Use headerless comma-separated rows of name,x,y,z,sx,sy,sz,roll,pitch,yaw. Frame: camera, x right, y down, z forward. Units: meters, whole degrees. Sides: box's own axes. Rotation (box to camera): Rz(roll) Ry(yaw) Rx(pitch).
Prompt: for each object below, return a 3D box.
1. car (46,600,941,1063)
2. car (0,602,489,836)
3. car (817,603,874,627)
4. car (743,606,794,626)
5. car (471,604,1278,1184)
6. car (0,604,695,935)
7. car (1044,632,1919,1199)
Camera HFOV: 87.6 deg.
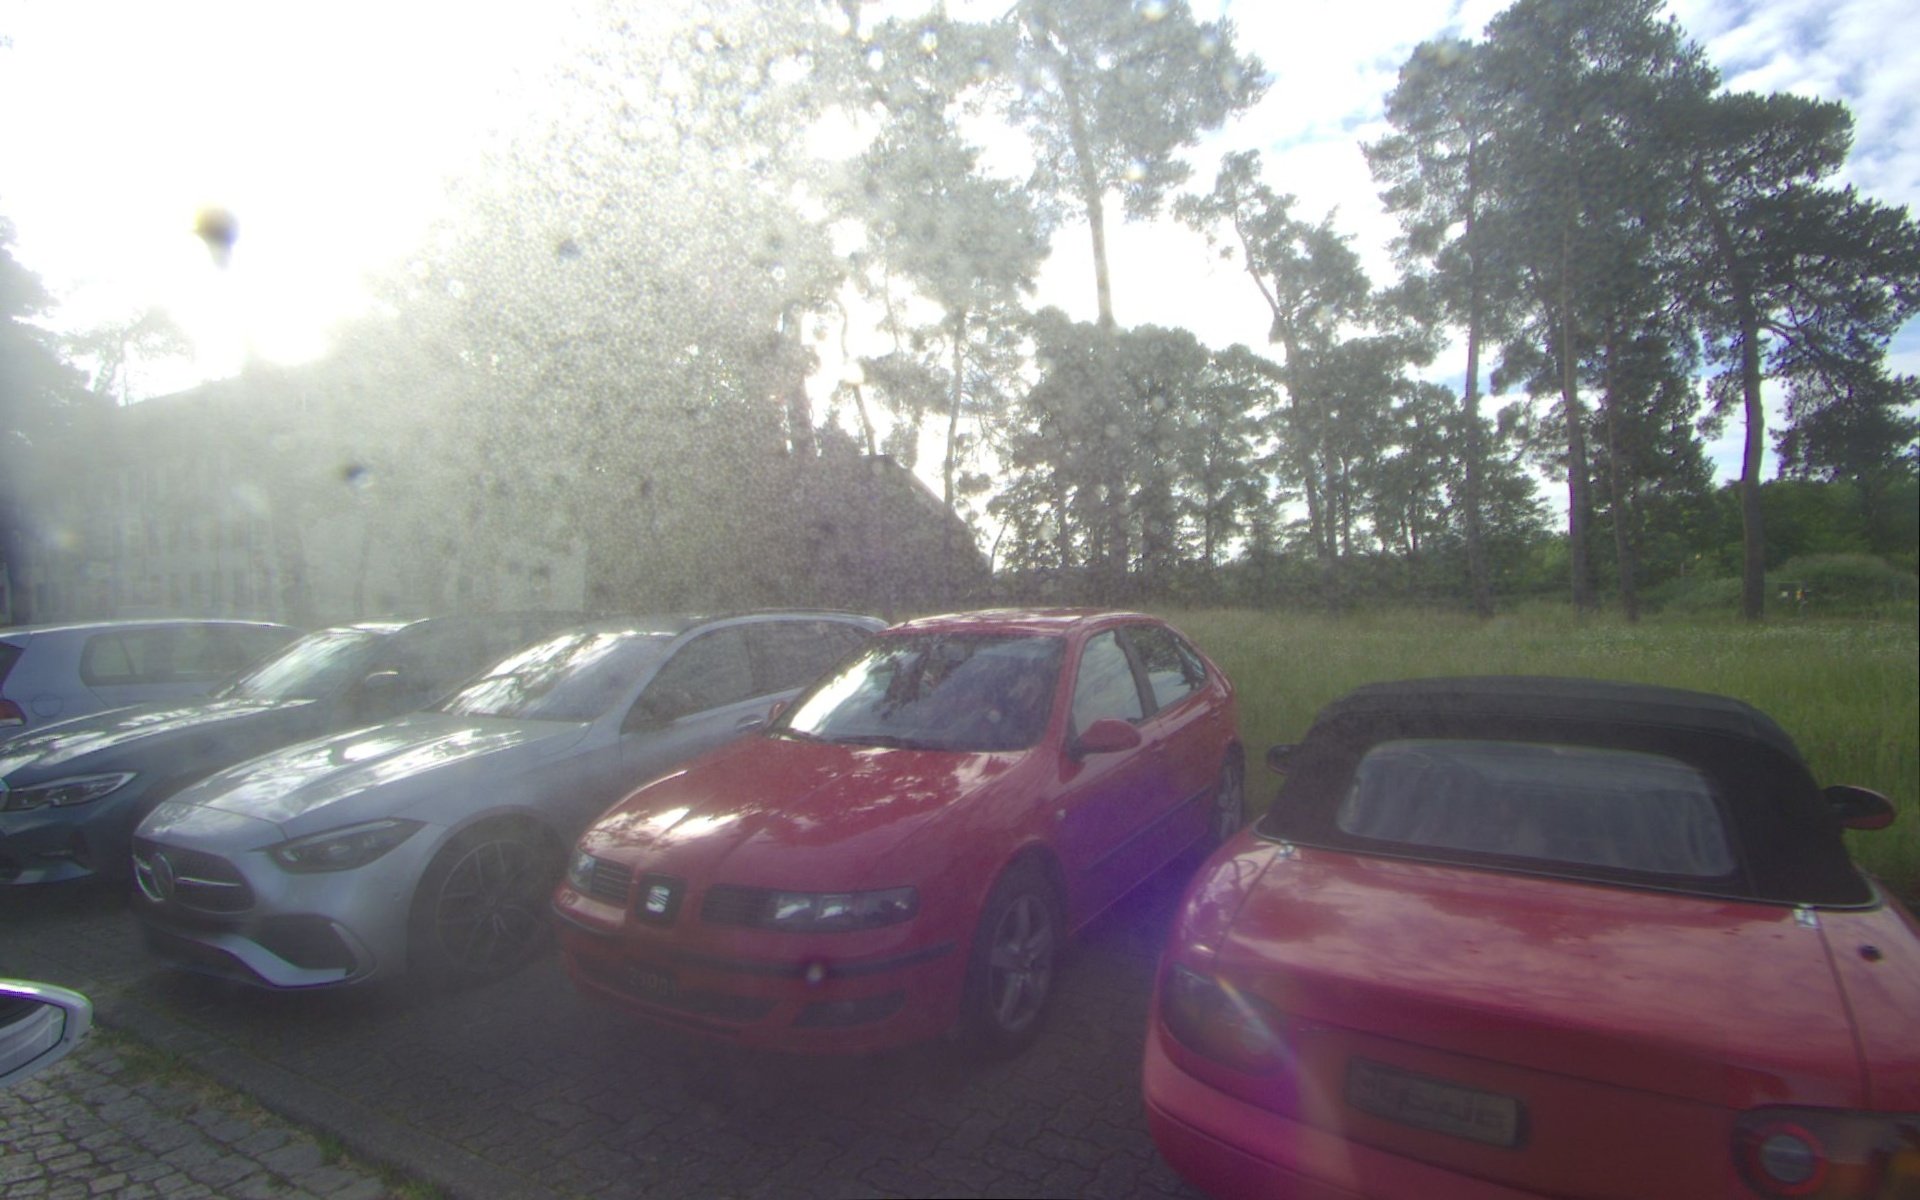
car,-1.977,0.781,5.623,1.741,1.448,4.318,-1,1,30
car,-6.289,0.813,8.553,1.618,1.490,3.835,-1,1,31
car,-8.020,1.032,70.381,3.923,1.622,1.999,-1,0,-6
car,-14.435,1.262,75.701,1.541,1.416,3.981,-1,-2,31
car,0.113,0.772,4.754,1.695,1.442,4.099,-1,0,32
car,-4.160,0.816,7.106,1.780,1.503,4.507,-1,0,29
car,1.818,0.824,3.059,1.586,1.303,3.537,-2,-1,34
